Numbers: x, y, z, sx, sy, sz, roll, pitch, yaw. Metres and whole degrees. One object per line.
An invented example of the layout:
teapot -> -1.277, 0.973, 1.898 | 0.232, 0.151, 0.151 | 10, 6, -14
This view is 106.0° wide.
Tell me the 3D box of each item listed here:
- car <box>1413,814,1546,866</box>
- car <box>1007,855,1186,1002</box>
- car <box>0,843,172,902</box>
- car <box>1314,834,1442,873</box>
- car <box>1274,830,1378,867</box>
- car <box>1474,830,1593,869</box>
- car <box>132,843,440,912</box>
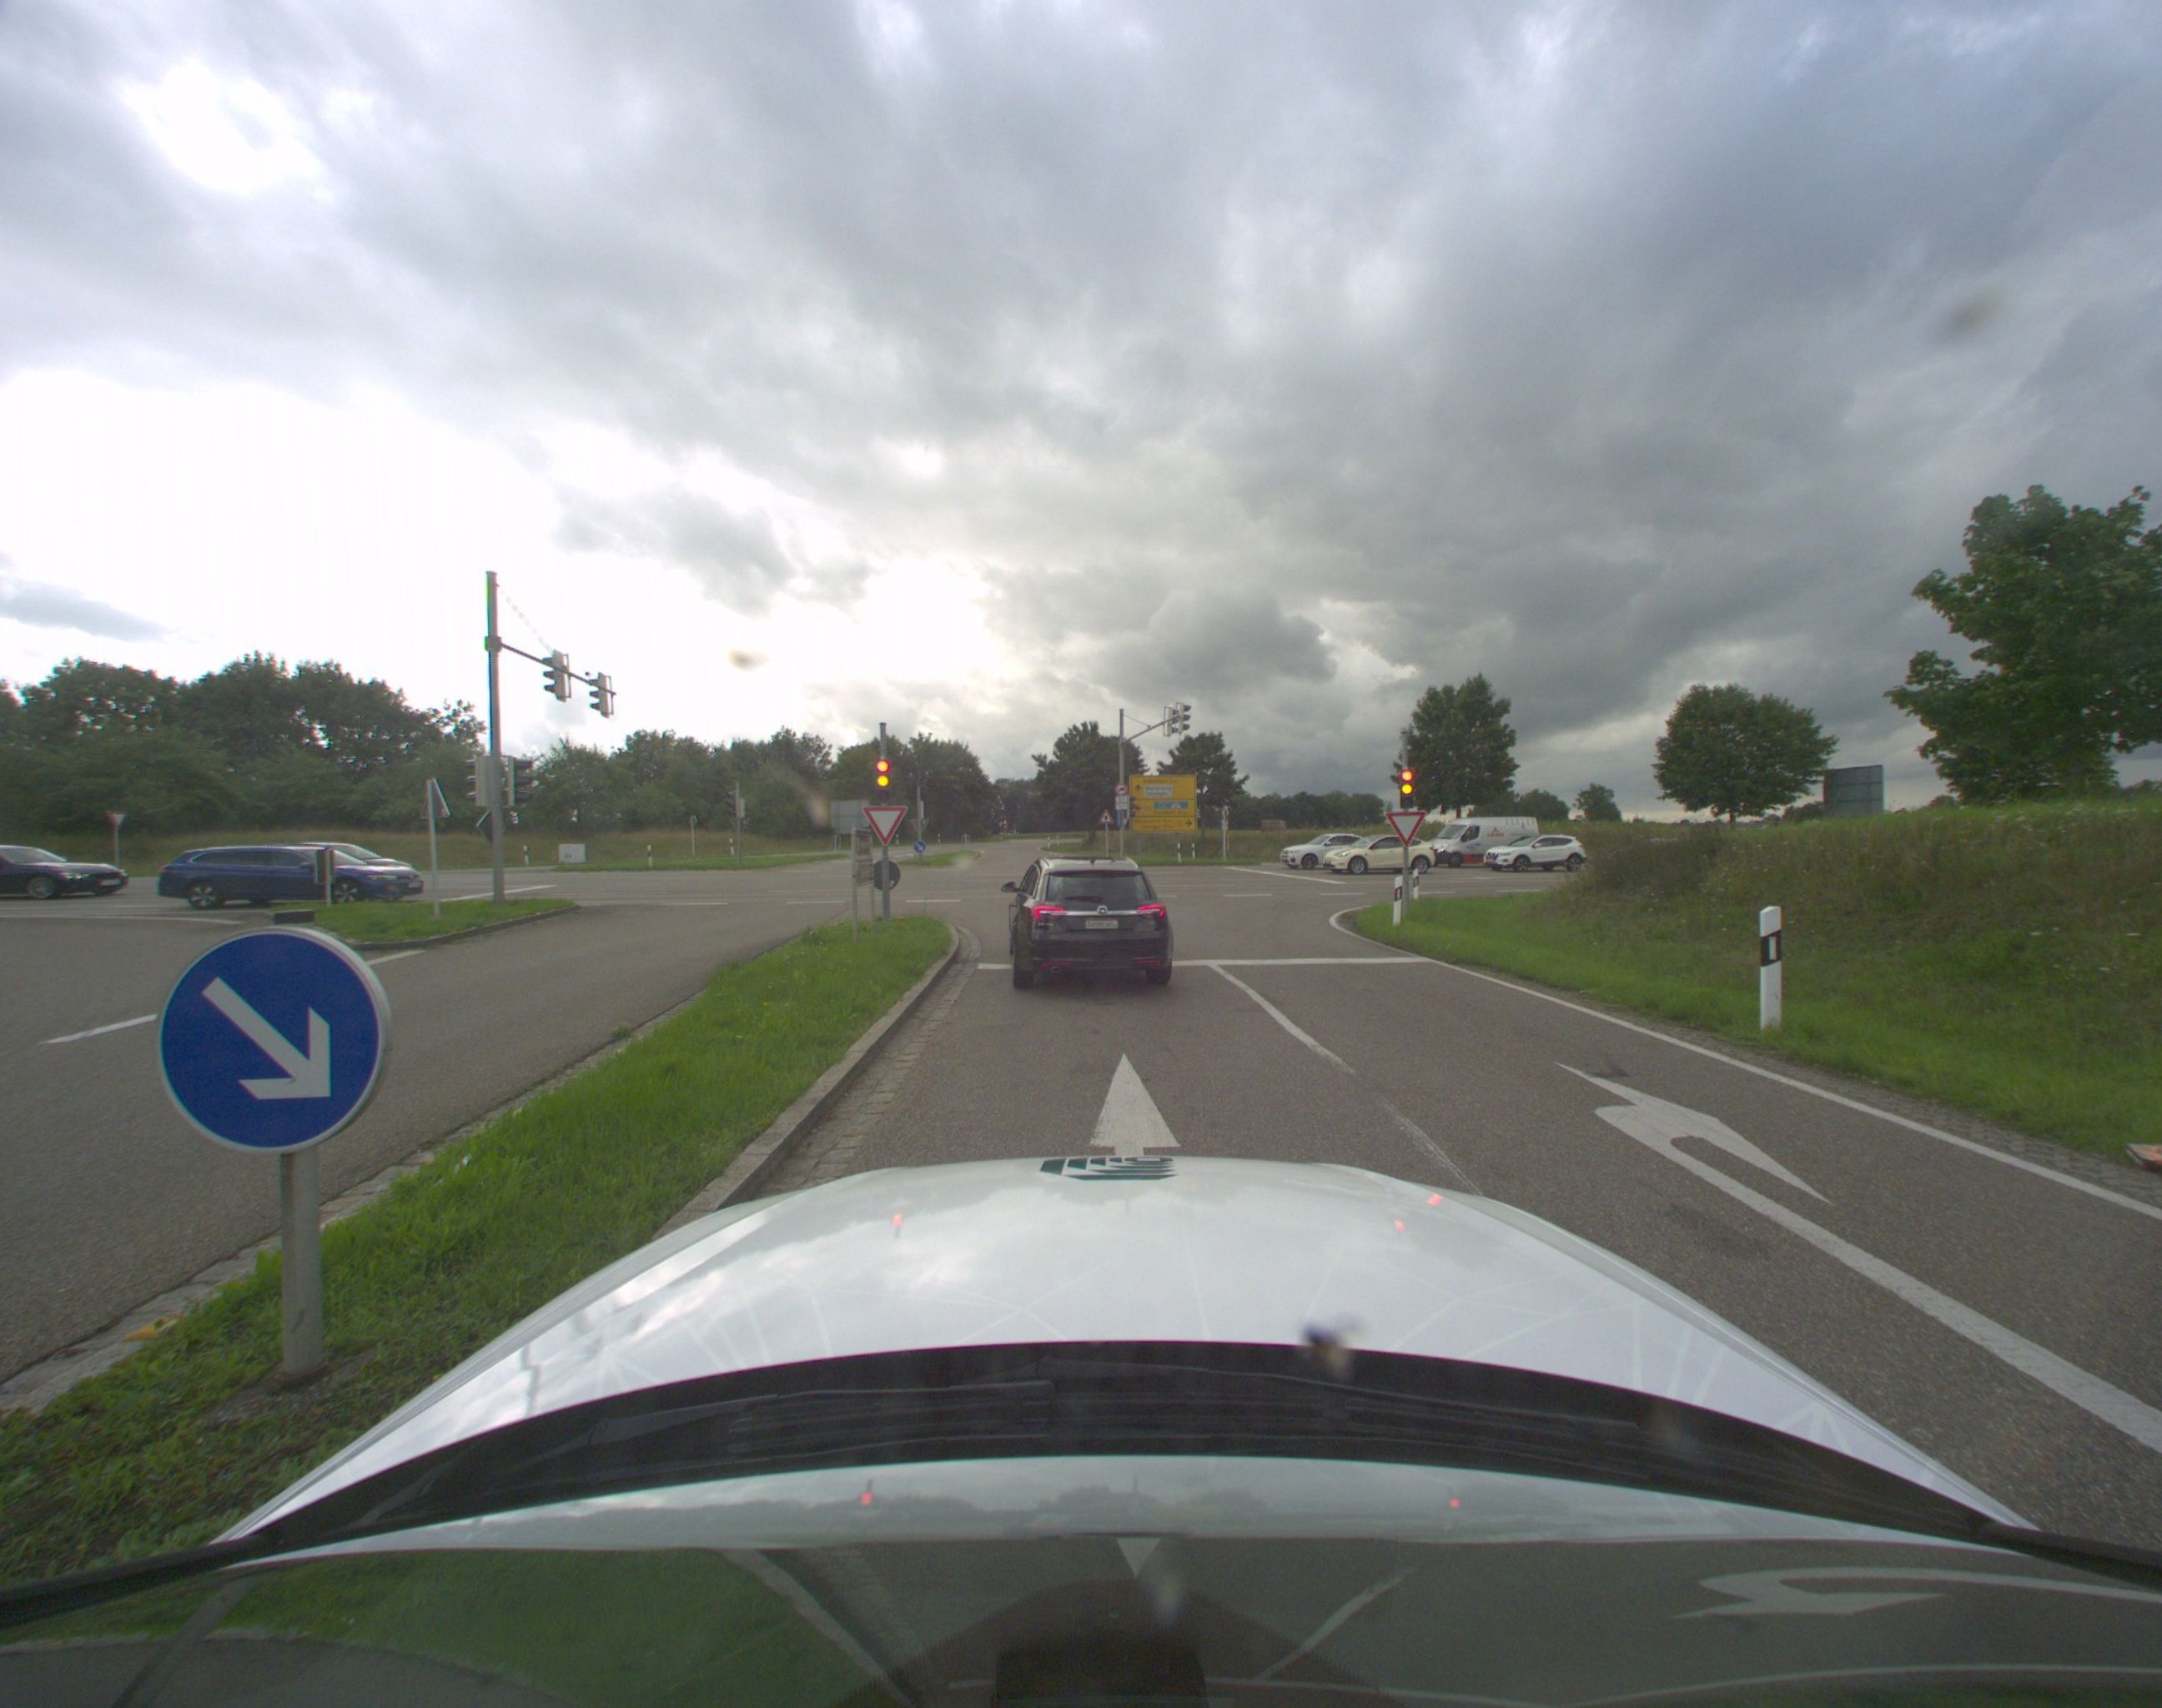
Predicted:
car -> 19.499, -0.688, 39.963 | 5.494, 2.441, 2.390 | -1, 0, -10
car -> -0.017, 0.754, 10.497 | 1.805, 1.450, 4.264 | 0, 0, -6
car -> -28.746, 0.478, 22.238 | 4.869, 1.483, 2.047 | 0, 3, -12
car -> 12.452, -0.044, 34.290 | 4.734, 1.564, 1.993 | -1, 0, -11
car -> 11.411, -0.256, 38.070 | 4.262, 1.629, 1.993 | -1, 0, -11
car -> 19.933, -0.214, 35.933 | 4.309, 1.629, 1.993 | -1, 0, -10
car -> -19.557, 0.511, 20.342 | 5.115, 1.534, 2.043 | -1, 2, -13
